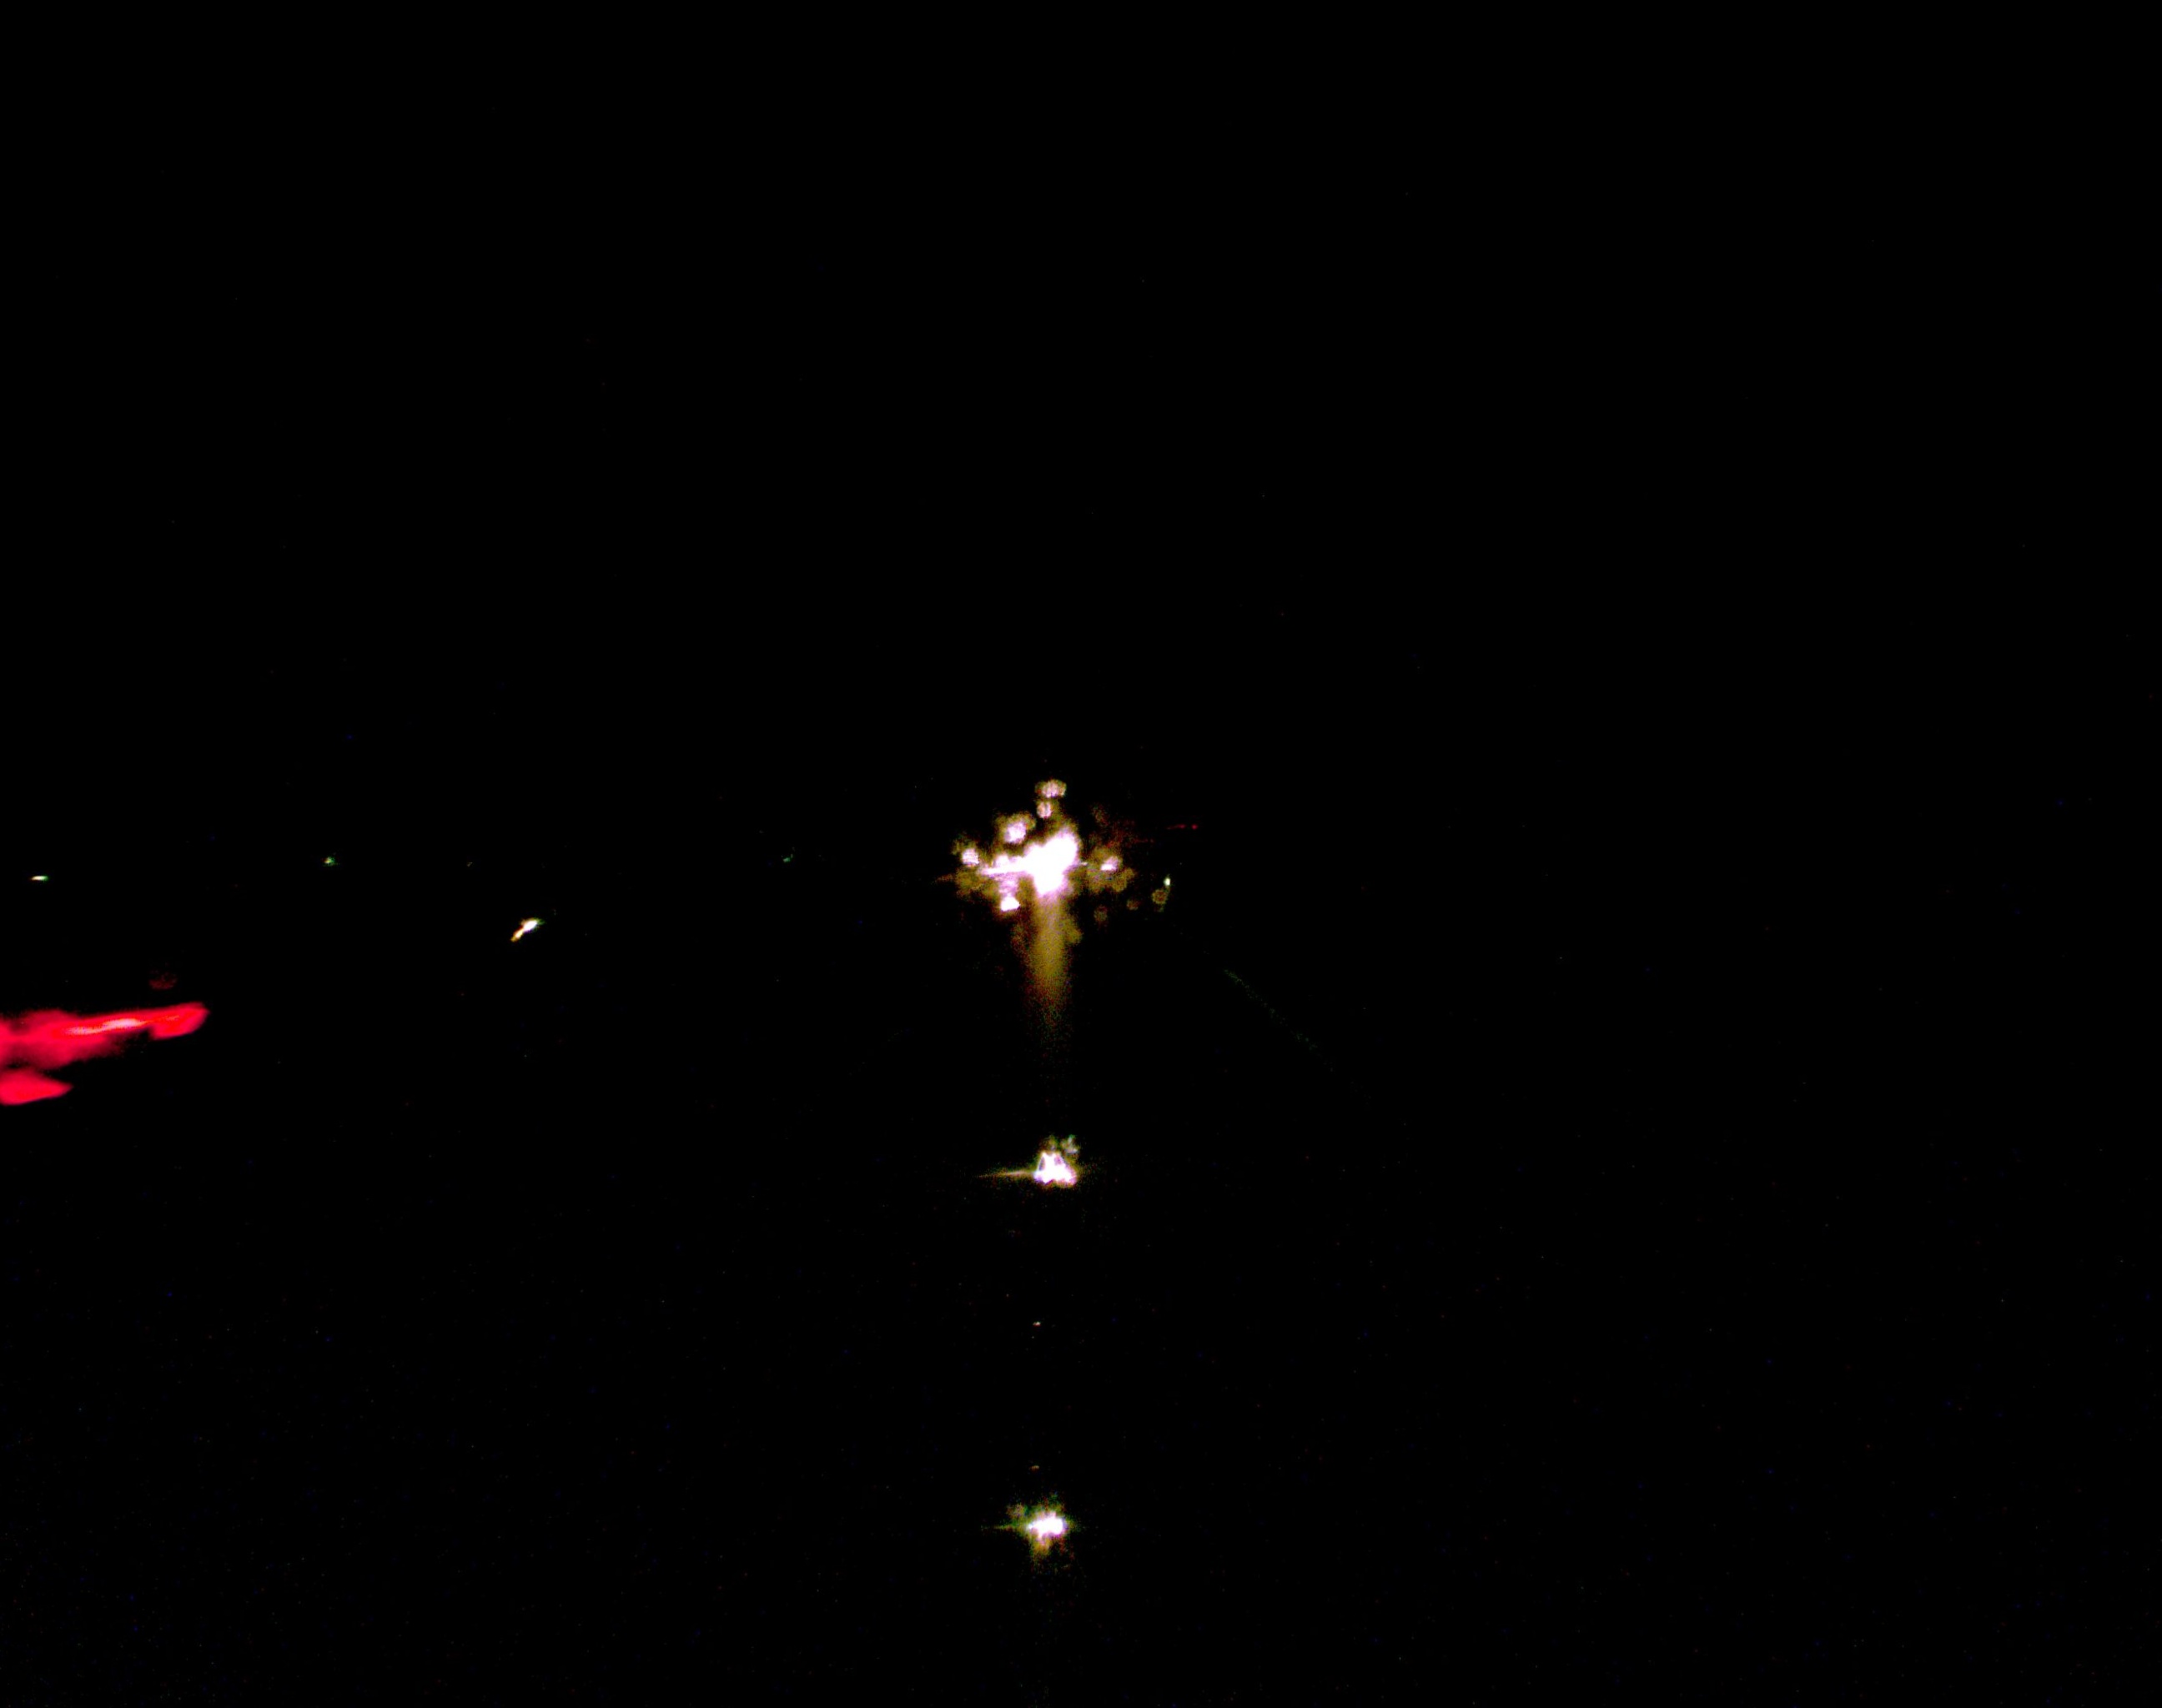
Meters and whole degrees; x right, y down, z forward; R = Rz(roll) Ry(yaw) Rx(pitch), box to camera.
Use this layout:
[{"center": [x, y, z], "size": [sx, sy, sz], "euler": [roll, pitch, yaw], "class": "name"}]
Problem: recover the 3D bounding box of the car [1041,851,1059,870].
[{"center": [-3.861, 0.784, 101.416], "size": [1.987, 2.272, 5.465], "euler": [-1, 0, -1], "class": "car"}]
